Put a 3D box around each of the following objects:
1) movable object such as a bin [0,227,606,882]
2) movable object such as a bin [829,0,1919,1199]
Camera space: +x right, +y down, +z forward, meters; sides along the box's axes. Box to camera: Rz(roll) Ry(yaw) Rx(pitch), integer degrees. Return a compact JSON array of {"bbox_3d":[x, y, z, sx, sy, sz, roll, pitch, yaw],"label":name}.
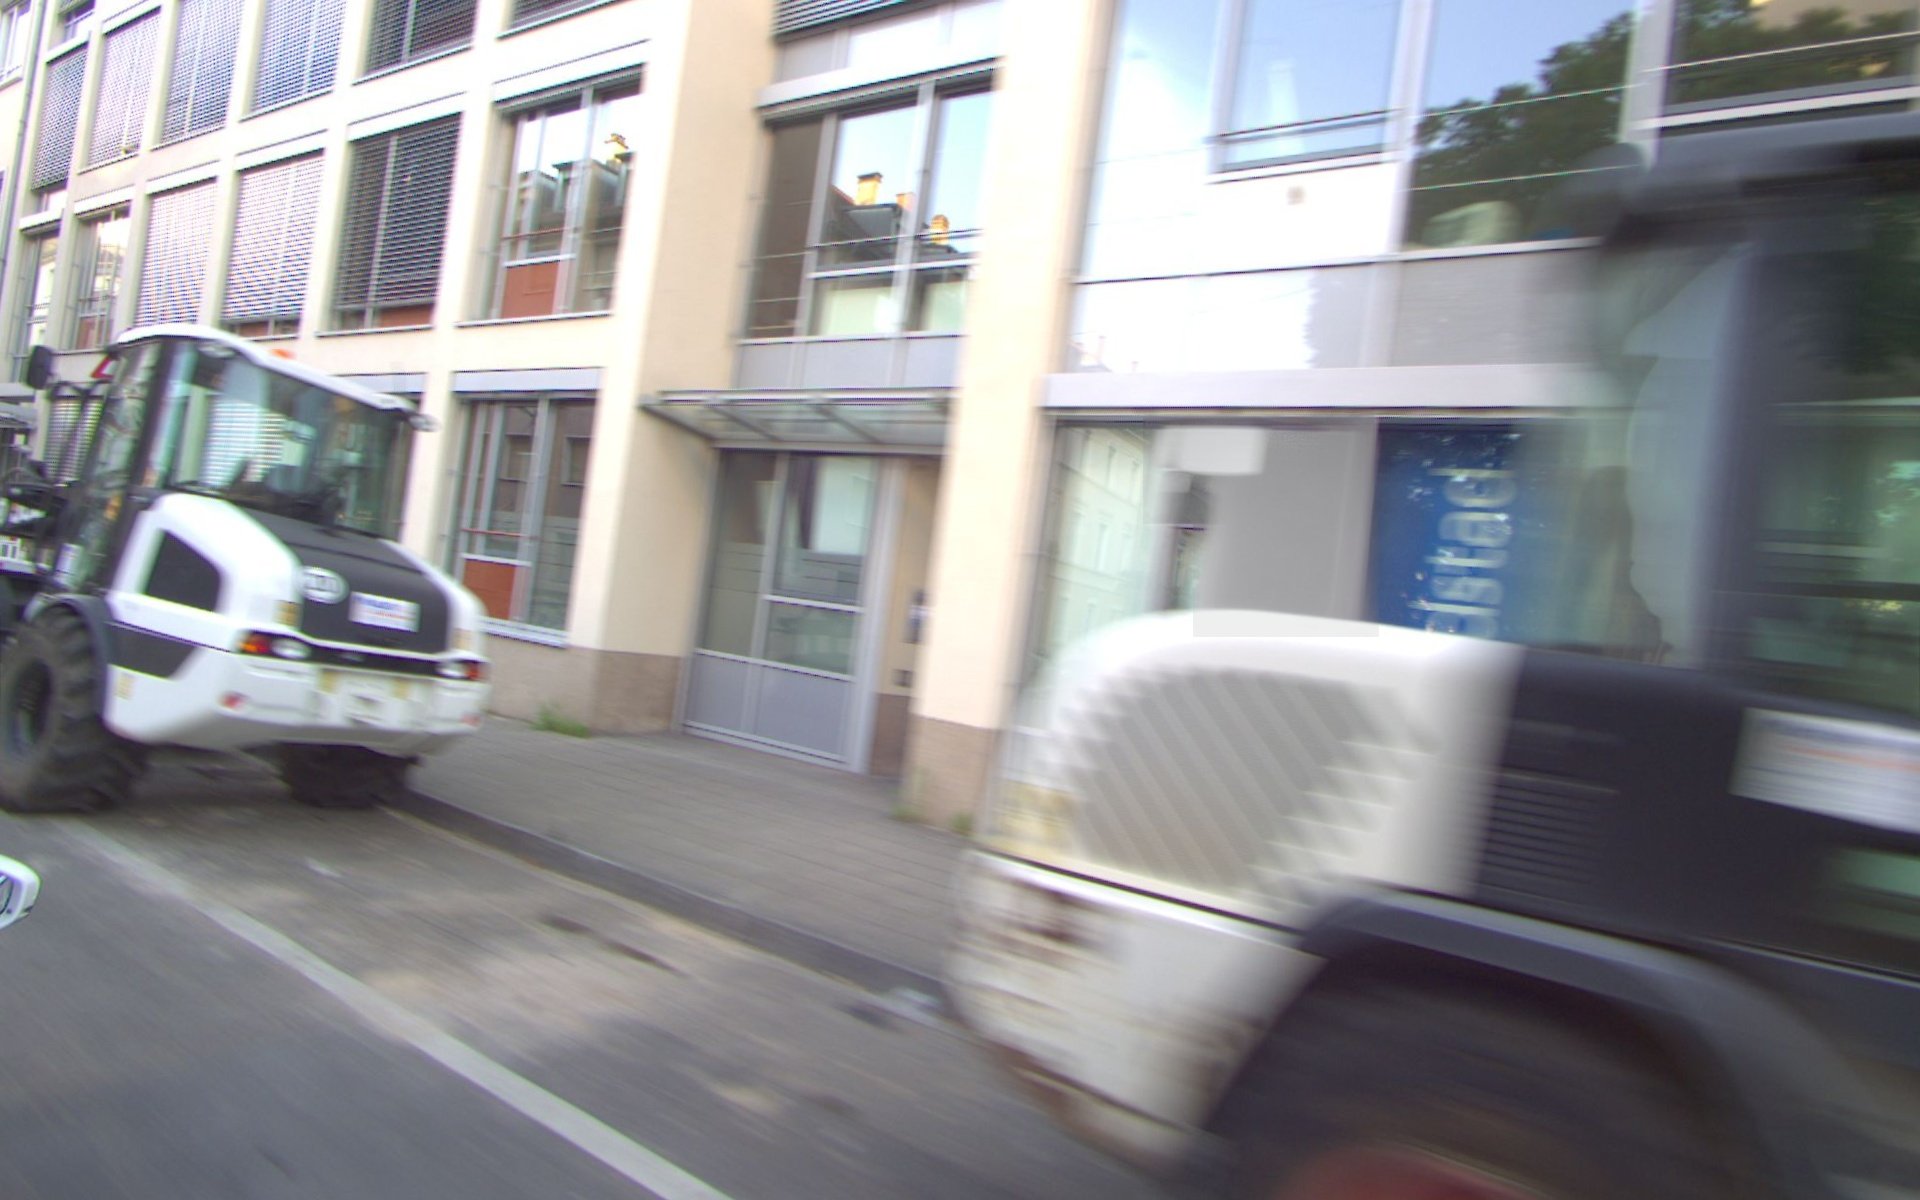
[{"bbox_3d":[-5.087,-0.349,6.354,5.451,2.626,2.171,7,-2,32],"label":"movable object such as a bin"},{"bbox_3d":[2.007,0.502,1.927,4.044,2.665,1.799,7,-1,34],"label":"movable object such as a bin"}]
